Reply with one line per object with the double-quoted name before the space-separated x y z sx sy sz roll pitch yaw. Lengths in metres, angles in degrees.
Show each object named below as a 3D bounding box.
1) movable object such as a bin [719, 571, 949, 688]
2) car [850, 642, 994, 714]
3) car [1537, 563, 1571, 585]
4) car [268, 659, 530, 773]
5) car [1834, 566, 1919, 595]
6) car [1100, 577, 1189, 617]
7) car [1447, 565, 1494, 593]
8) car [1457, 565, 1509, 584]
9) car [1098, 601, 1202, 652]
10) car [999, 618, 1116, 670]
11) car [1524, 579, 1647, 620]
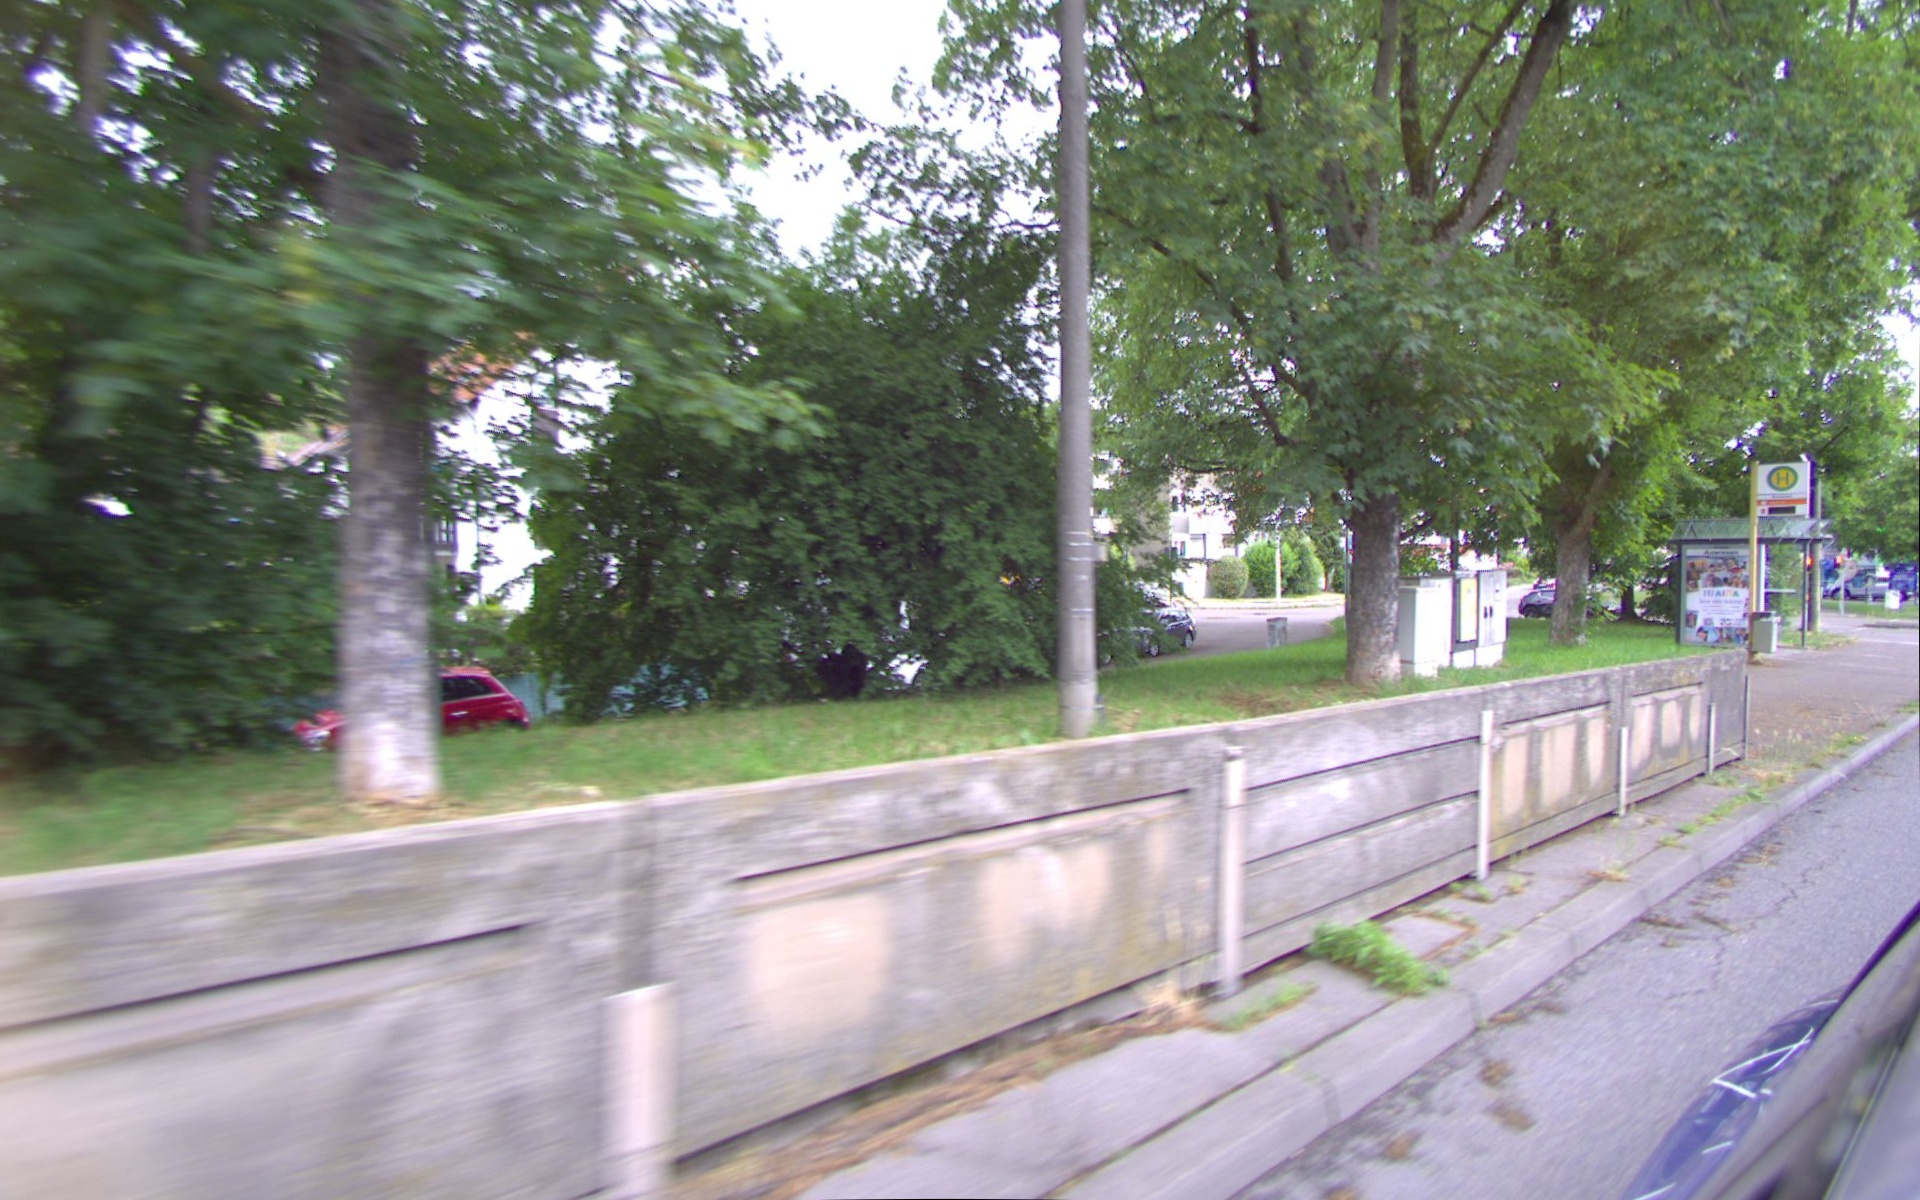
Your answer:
"movable object such as a bin" -3.099 0.632 26.440 1.991 2.656 6.180 -1 1 41
"car" -0.878 1.899 25.429 1.475 1.403 3.787 -1 1 39
"car" 51.603 -2.254 87.885 1.938 1.865 4.192 -1 1 39
"car" -8.889 1.764 16.251 1.414 1.342 3.400 -1 1 39
"car" 57.413 -1.226 63.042 4.183 1.718 1.819 3 3 34
"car" 8.746 -0.140 47.882 3.944 1.788 1.990 -1 1 17
"car" 36.312 -1.506 71.999 3.856 1.865 1.618 -2 1 -41
"car" 45.433 -2.214 87.939 1.743 1.475 3.557 -2 1 -37
"car" 6.510 0.863 34.386 1.656 1.479 4.231 -1 1 38
"car" 2.937 1.261 29.978 1.618 1.262 3.805 -1 1 39
"car" 26.643 -0.057 43.243 1.671 1.544 4.170 -2 3 -32
